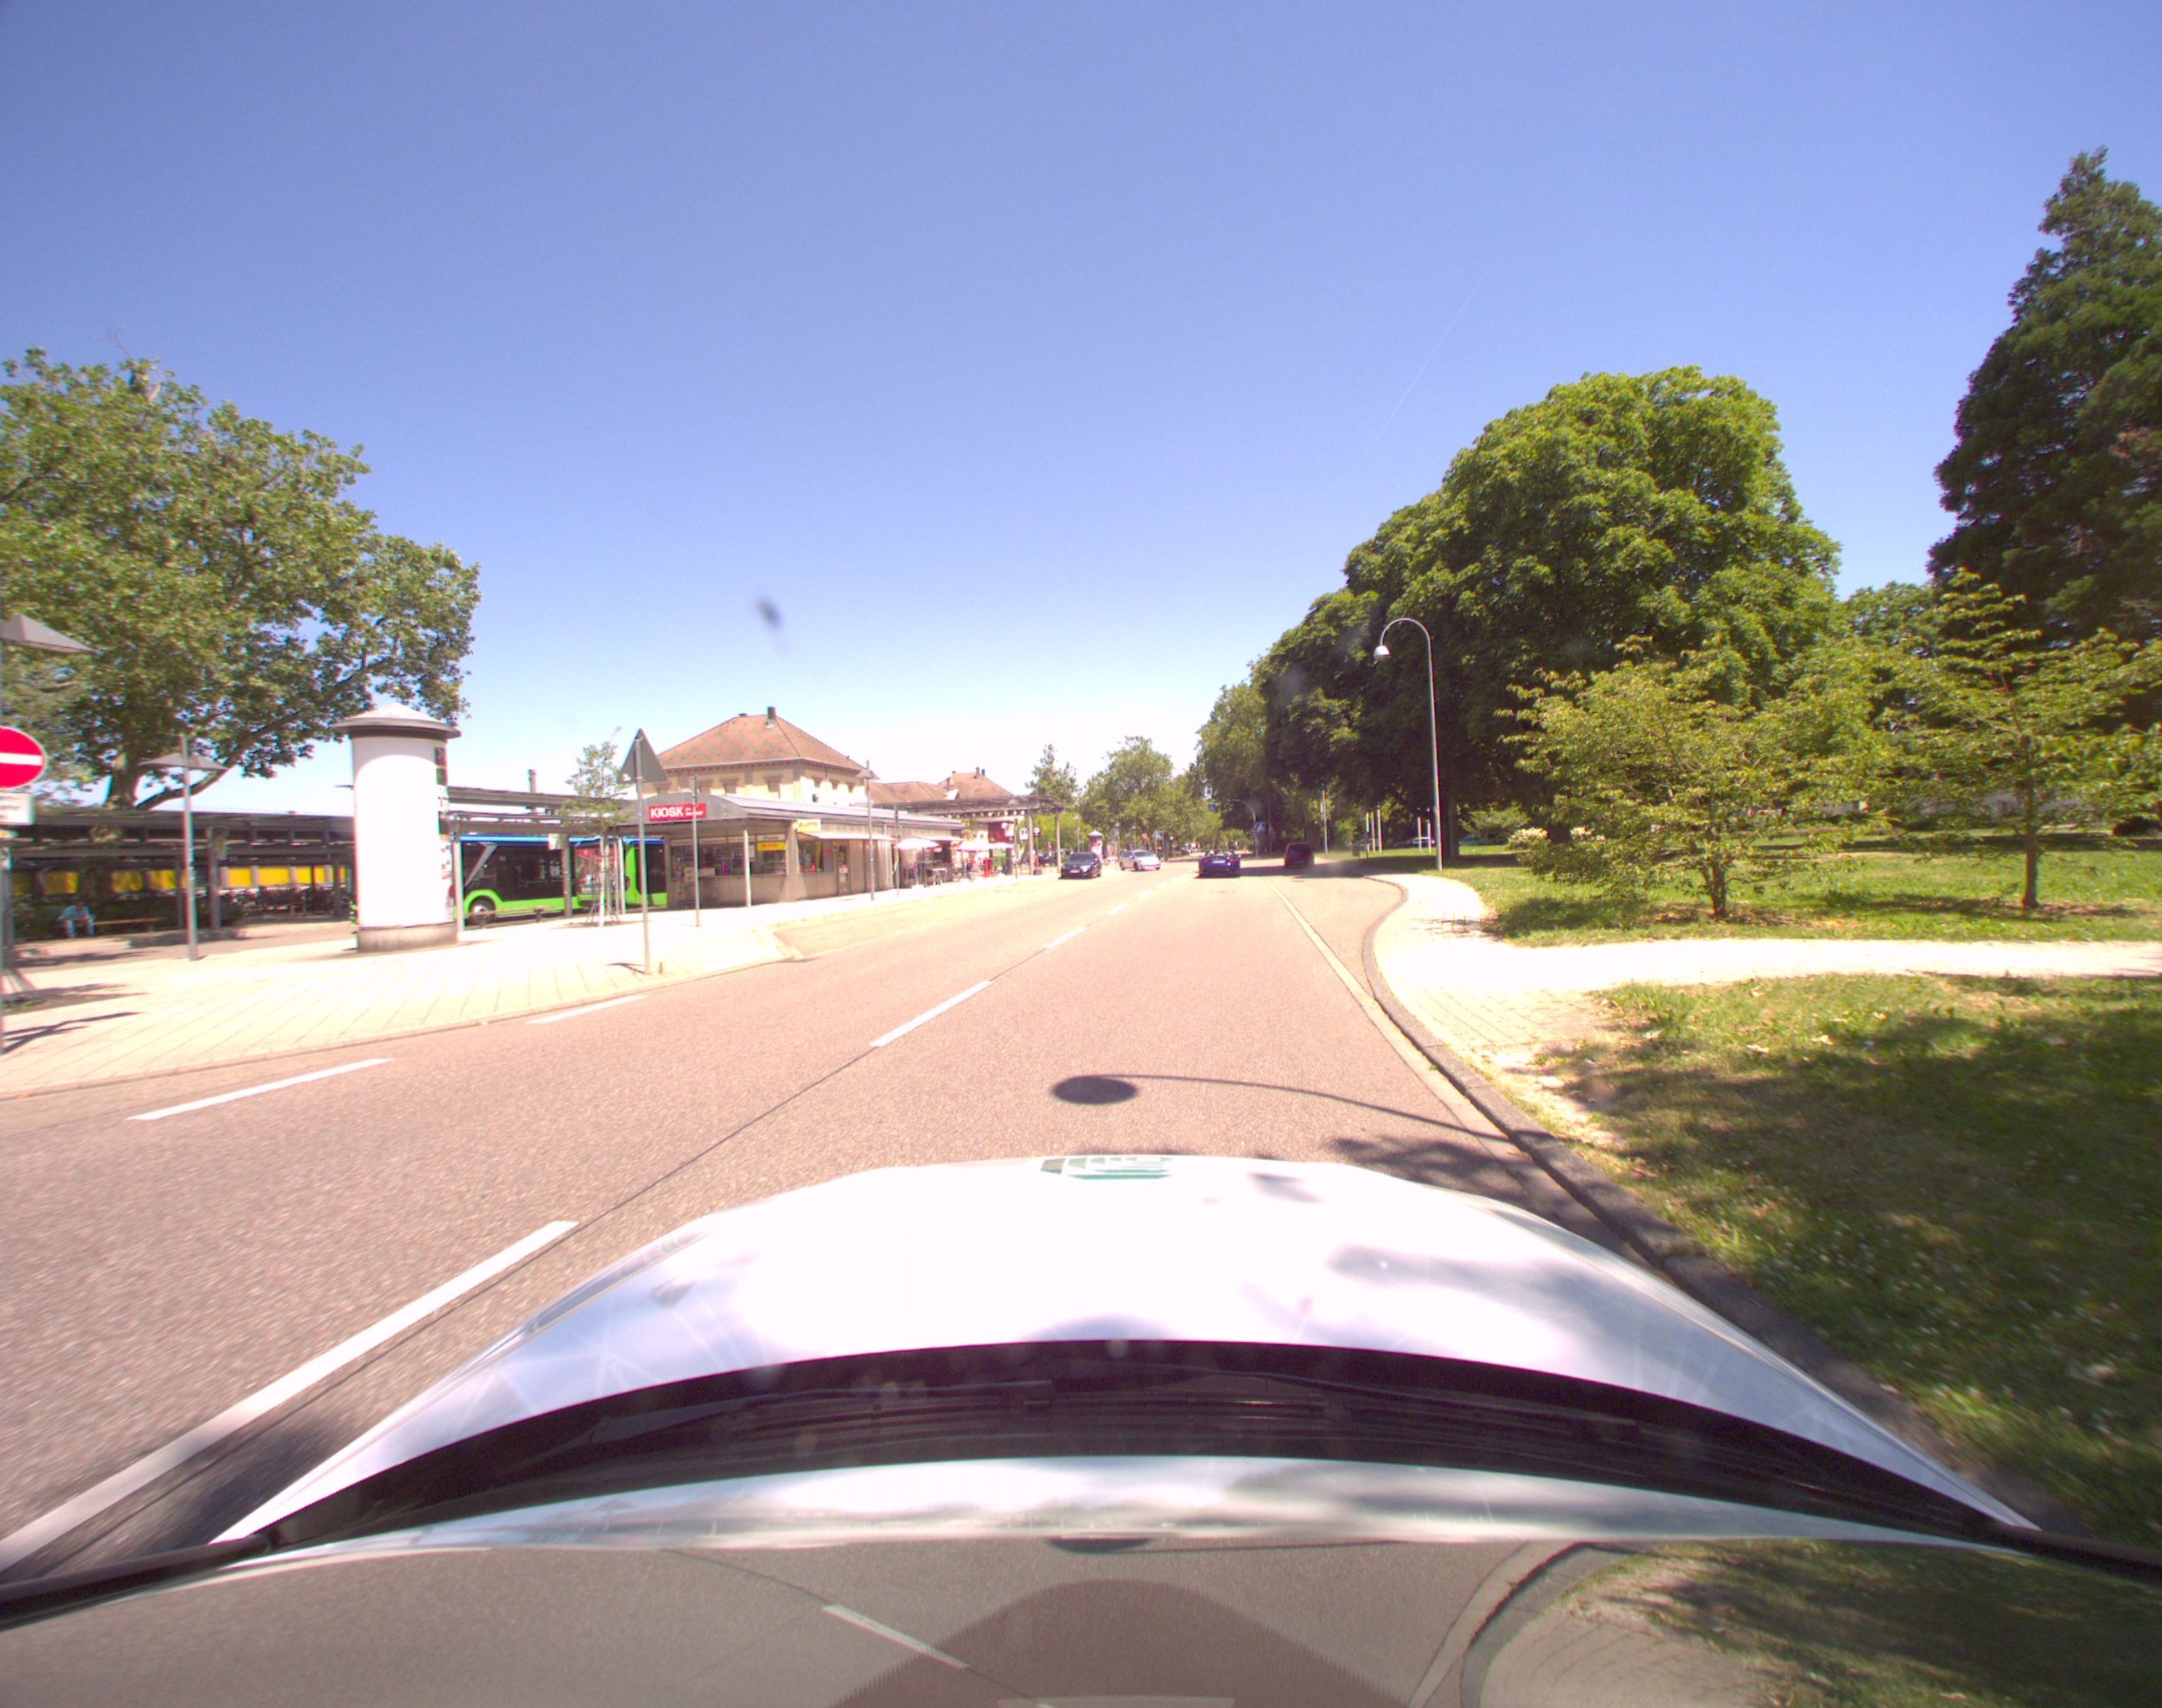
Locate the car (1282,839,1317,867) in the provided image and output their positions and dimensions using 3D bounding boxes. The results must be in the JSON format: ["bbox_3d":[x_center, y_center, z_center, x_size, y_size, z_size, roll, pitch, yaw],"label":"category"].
[{"bbox_3d":[12.576,-0.073,47.117,1.707,1.478,3.718,-3,0,12],"label":"car"}]

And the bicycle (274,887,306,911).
[{"bbox_3d":[-38.044,2.184,39.173,1.372,1.094,0.387,-3,-2,11],"label":"bicycle"}]

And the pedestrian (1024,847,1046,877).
[{"bbox_3d":[-2.845,0.492,50.357,0.792,1.828,1.149,-3,-2,27],"label":"pedestrian"}]

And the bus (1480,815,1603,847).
[{"bbox_3d":[53.391,-2.660,94.716,12.306,2.978,2.274,-3,-1,8],"label":"bus"}]

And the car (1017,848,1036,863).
[{"bbox_3d":[-8.314,0.255,123.659,1.982,2.013,4.010,-3,1,8],"label":"car"}]

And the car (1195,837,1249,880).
[{"bbox_3d":[6.672,0.201,38.198,2.109,1.848,4.064,-2,0,15],"label":"car"}]

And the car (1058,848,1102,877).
[{"bbox_3d":[0.002,0.458,46.685,1.708,1.478,4.798,-3,0,9],"label":"car"}]

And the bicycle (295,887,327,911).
[{"bbox_3d":[-37.836,2.198,40.012,1.372,1.094,0.387,-3,-2,11],"label":"bicycle"}]

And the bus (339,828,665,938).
[{"bbox_3d":[-22.031,0.888,32.609,2.147,3.526,12.265,-2,0,12],"label":"bus"}]

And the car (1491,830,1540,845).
[{"bbox_3d":[47.748,-1.787,89.619,4.309,1.416,2.006,-2,-1,11],"label":"car"}]

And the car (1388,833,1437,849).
[{"bbox_3d":[37.047,-1.447,91.169,4.789,1.607,2.008,-3,0,14],"label":"car"}]

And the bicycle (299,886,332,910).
[{"bbox_3d":[-36.576,2.111,38.916,1.372,1.094,0.387,-3,-2,11],"label":"bicycle"}]

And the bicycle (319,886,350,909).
[{"bbox_3d":[-36.412,2.126,39.727,1.372,1.094,0.387,-3,-2,11],"label":"bicycle"}]

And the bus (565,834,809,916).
[{"bbox_3d":[-17.372,0.790,37.972,2.659,3.041,13.927,-3,0,9],"label":"bus"}]

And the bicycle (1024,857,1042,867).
[{"bbox_3d":[-4.954,0.828,84.298,1.795,1.030,0.486,-2,0,-13],"label":"bicycle"}]

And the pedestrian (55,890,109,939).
[{"bbox_3d":[-31.561,1.901,25.735,0.602,1.463,0.823,-3,0,7],"label":"pedestrian"}]

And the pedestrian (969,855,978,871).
[{"bbox_3d":[-11.341,0.972,85.682,0.660,1.673,0.624,-1,-2,-36],"label":"pedestrian"}]

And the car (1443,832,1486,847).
[{"bbox_3d":[42.610,-1.596,90.538,3.855,1.454,2.006,-2,-1,12],"label":"car"}]

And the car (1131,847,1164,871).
[{"bbox_3d":[4.726,0.340,57.282,1.803,1.444,4.171,-3,1,11],"label":"car"}]

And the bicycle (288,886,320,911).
[{"bbox_3d":[-36.690,2.104,38.461,1.371,1.094,0.387,-3,-2,13],"label":"bicycle"}]

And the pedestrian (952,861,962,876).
[{"bbox_3d":[-7.814,0.913,51.227,0.421,0.972,0.374,-3,-2,23],"label":"pedestrian"}]

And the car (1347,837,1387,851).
[{"bbox_3d":[32.516,-1.135,92.749,4.076,1.466,2.007,-3,0,13],"label":"car"}]

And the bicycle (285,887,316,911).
[{"bbox_3d":[-37.951,2.192,39.597,1.372,1.094,0.387,-3,-2,11],"label":"bicycle"}]
